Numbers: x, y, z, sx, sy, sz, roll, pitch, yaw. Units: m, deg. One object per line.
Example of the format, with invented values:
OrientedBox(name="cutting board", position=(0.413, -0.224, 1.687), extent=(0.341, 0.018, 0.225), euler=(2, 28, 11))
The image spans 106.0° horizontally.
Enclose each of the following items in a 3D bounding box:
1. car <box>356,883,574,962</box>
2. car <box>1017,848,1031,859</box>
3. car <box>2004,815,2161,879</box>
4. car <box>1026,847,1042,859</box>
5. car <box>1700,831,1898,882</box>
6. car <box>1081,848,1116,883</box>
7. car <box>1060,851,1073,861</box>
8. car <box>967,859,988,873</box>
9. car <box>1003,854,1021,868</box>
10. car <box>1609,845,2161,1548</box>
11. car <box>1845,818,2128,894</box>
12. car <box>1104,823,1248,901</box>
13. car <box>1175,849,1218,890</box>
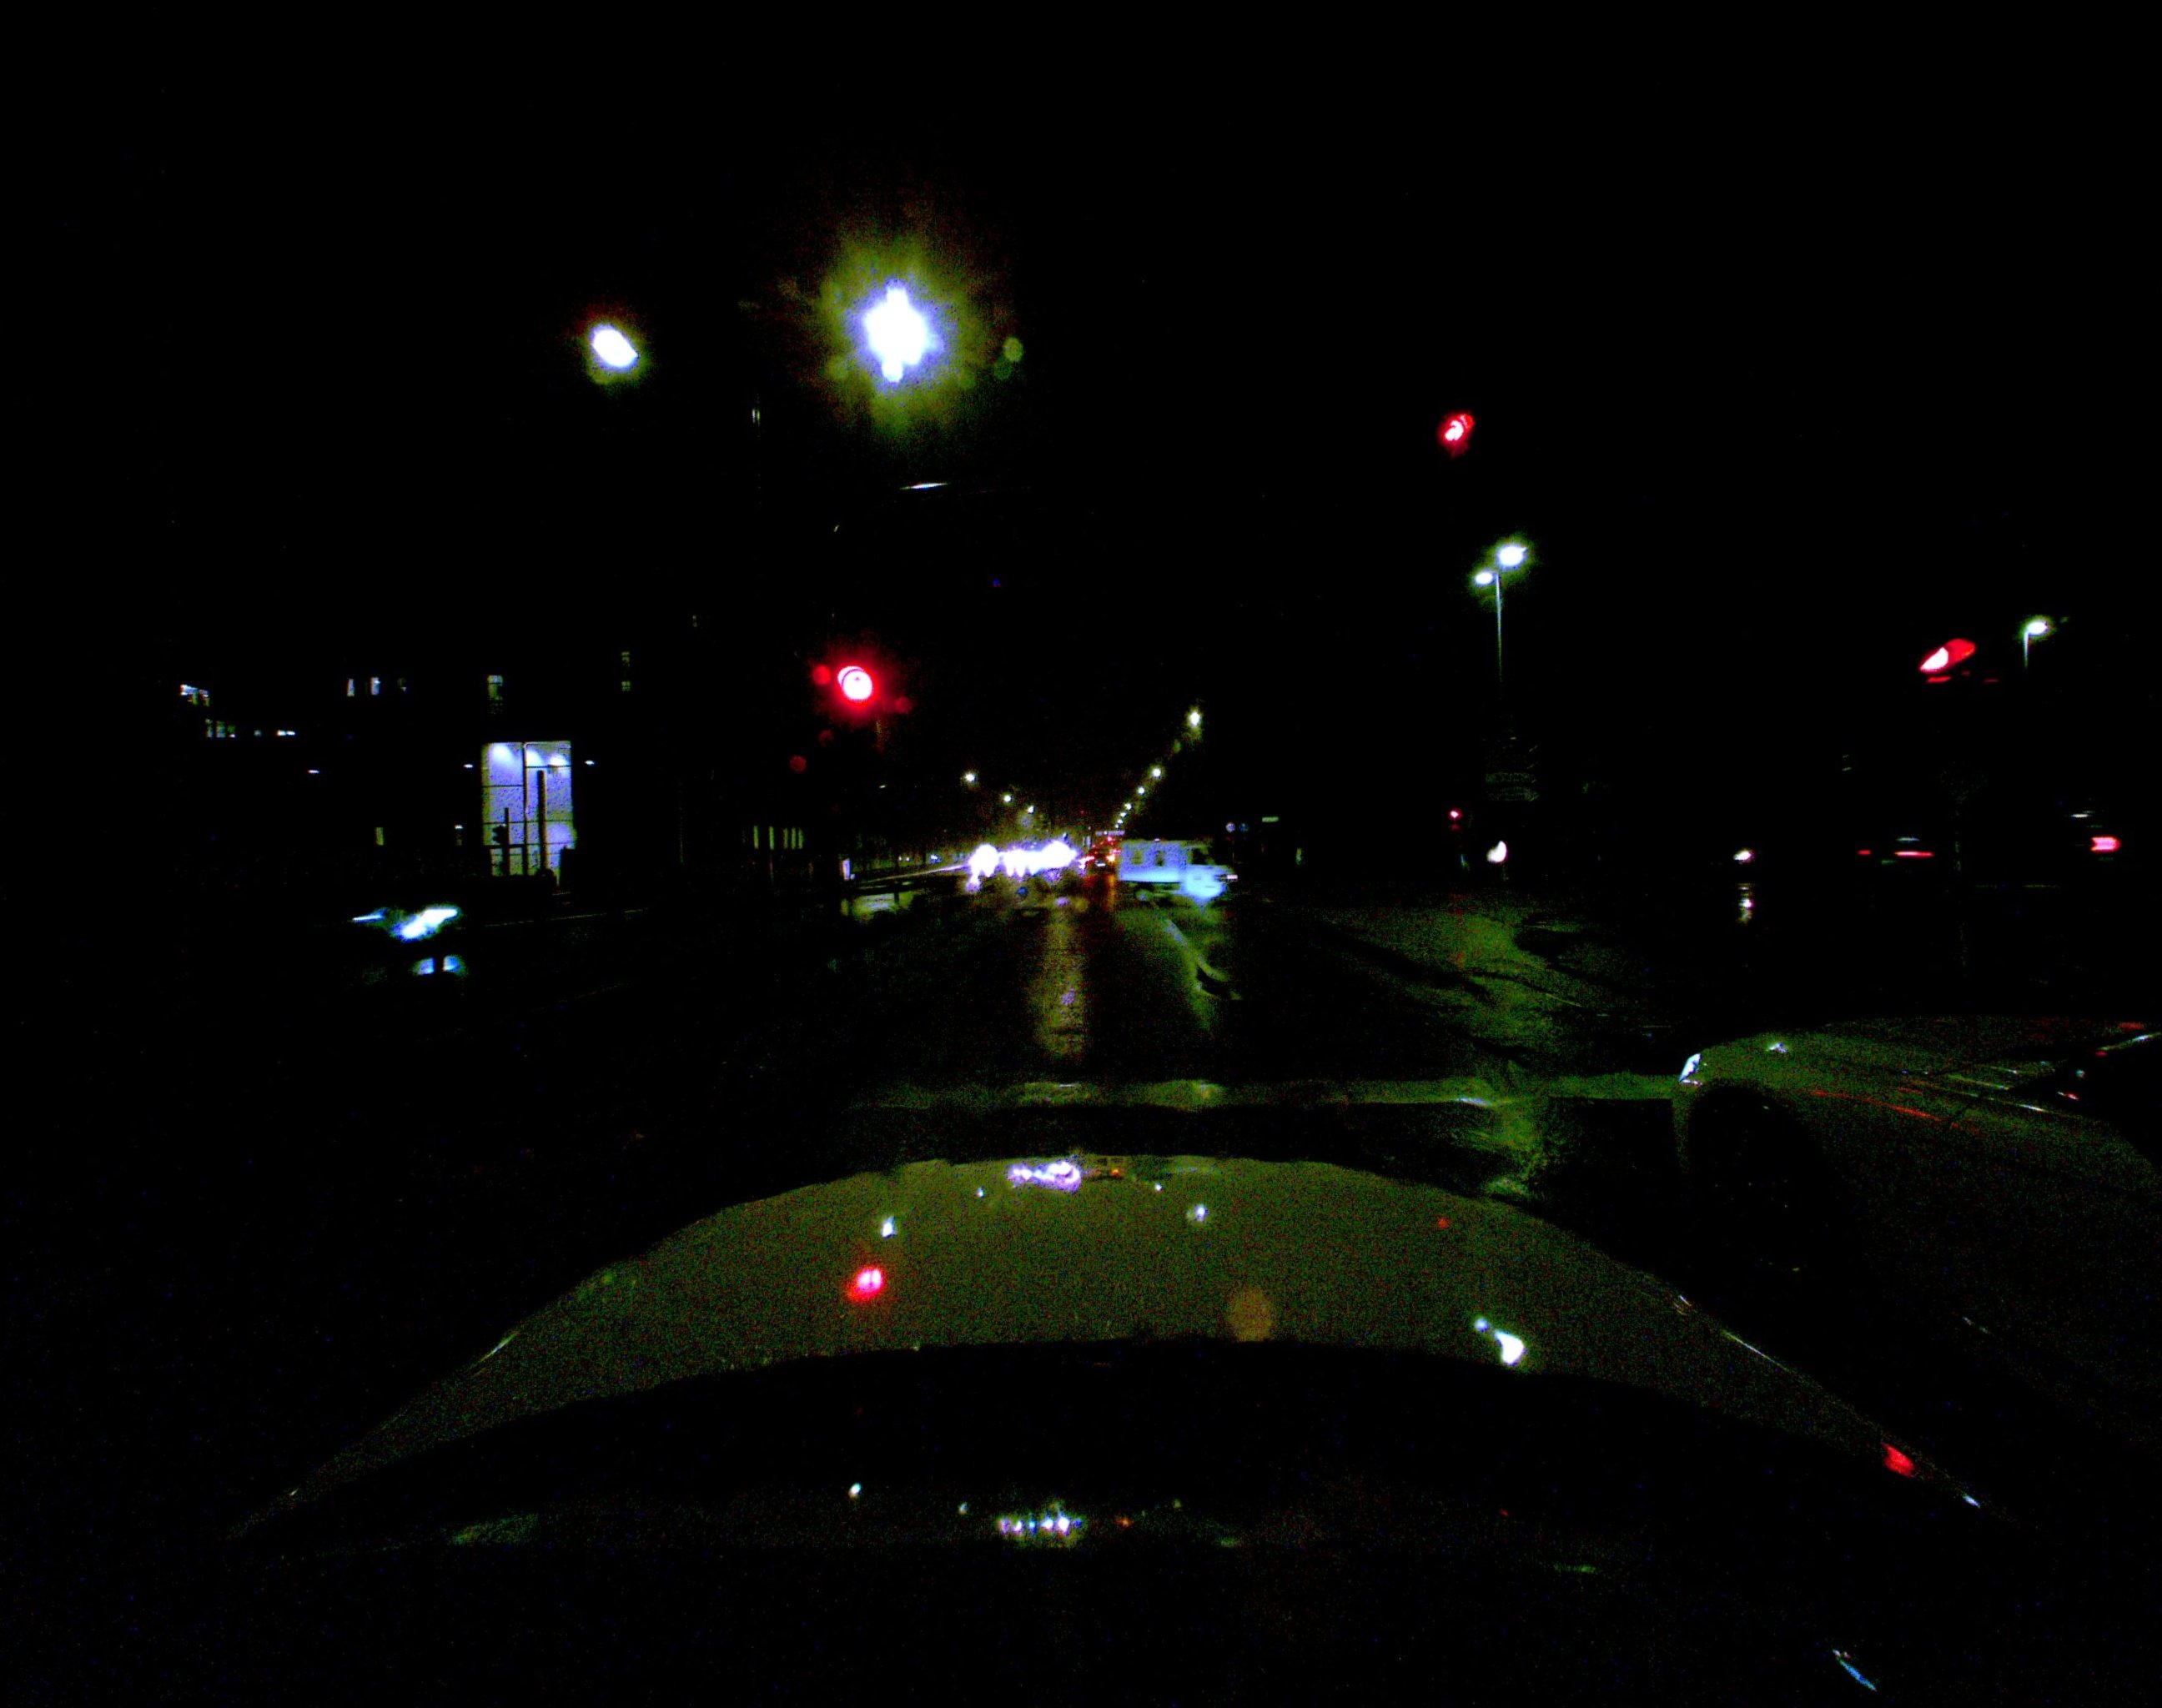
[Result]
OrientedBox(name="car", position=(-13.757, 1.464, 18.540), extent=(1.817, 1.464, 4.001), euler=(-1, -1, 2))
OrientedBox(name="car", position=(-8.988, -0.088, 128.650), extent=(1.878, 1.552, 4.435), euler=(-1, -1, 2))
OrientedBox(name="car", position=(28.442, -0.188, 22.030), extent=(4.476, 1.618, 1.911), euler=(-1, -1, 6))
OrientedBox(name="car", position=(-6.404, -0.073, 111.349), extent=(1.878, 1.552, 4.435), euler=(-1, -1, 2))
OrientedBox(name="car", position=(24.267, 0.097, 27.706), extent=(4.823, 1.590, 1.857), euler=(-1, -1, 8))
OrientedBox(name="car", position=(1.101, 0.701, 49.923), extent=(1.986, 2.014, 4.001), euler=(-1, -1, 2))
OrientedBox(name="car", position=(-2.380, 0.374, 135.369), extent=(1.878, 1.552, 4.435), euler=(-1, -1, 2))
OrientedBox(name="car", position=(-12.332, 1.421, 97.183), extent=(1.794, 1.564, 4.001), euler=(-1, -1, 2))
OrientedBox(name="car", position=(-9.405, 0.956, 111.231), extent=(1.743, 1.709, 4.501), euler=(-3, -1, 2))
OrientedBox(name="car", position=(3.132, 0.719, 1.301), extent=(1.714, 1.446, 4.383), euler=(-3, -1, 1))
OrientedBox(name="car", position=(21.679, 0.062, 19.684), extent=(4.380, 1.672, 1.962), euler=(-1, -1, 6))
OrientedBox(name="car", position=(2.620, 0.246, 22.545), extent=(3.522, 2.014, 1.714), euler=(-1, -1, 28))
OrientedBox(name="car", position=(6.604, 0.863, 46.891), extent=(2.198, 2.215, 3.646), euler=(-1, -1, 4))
